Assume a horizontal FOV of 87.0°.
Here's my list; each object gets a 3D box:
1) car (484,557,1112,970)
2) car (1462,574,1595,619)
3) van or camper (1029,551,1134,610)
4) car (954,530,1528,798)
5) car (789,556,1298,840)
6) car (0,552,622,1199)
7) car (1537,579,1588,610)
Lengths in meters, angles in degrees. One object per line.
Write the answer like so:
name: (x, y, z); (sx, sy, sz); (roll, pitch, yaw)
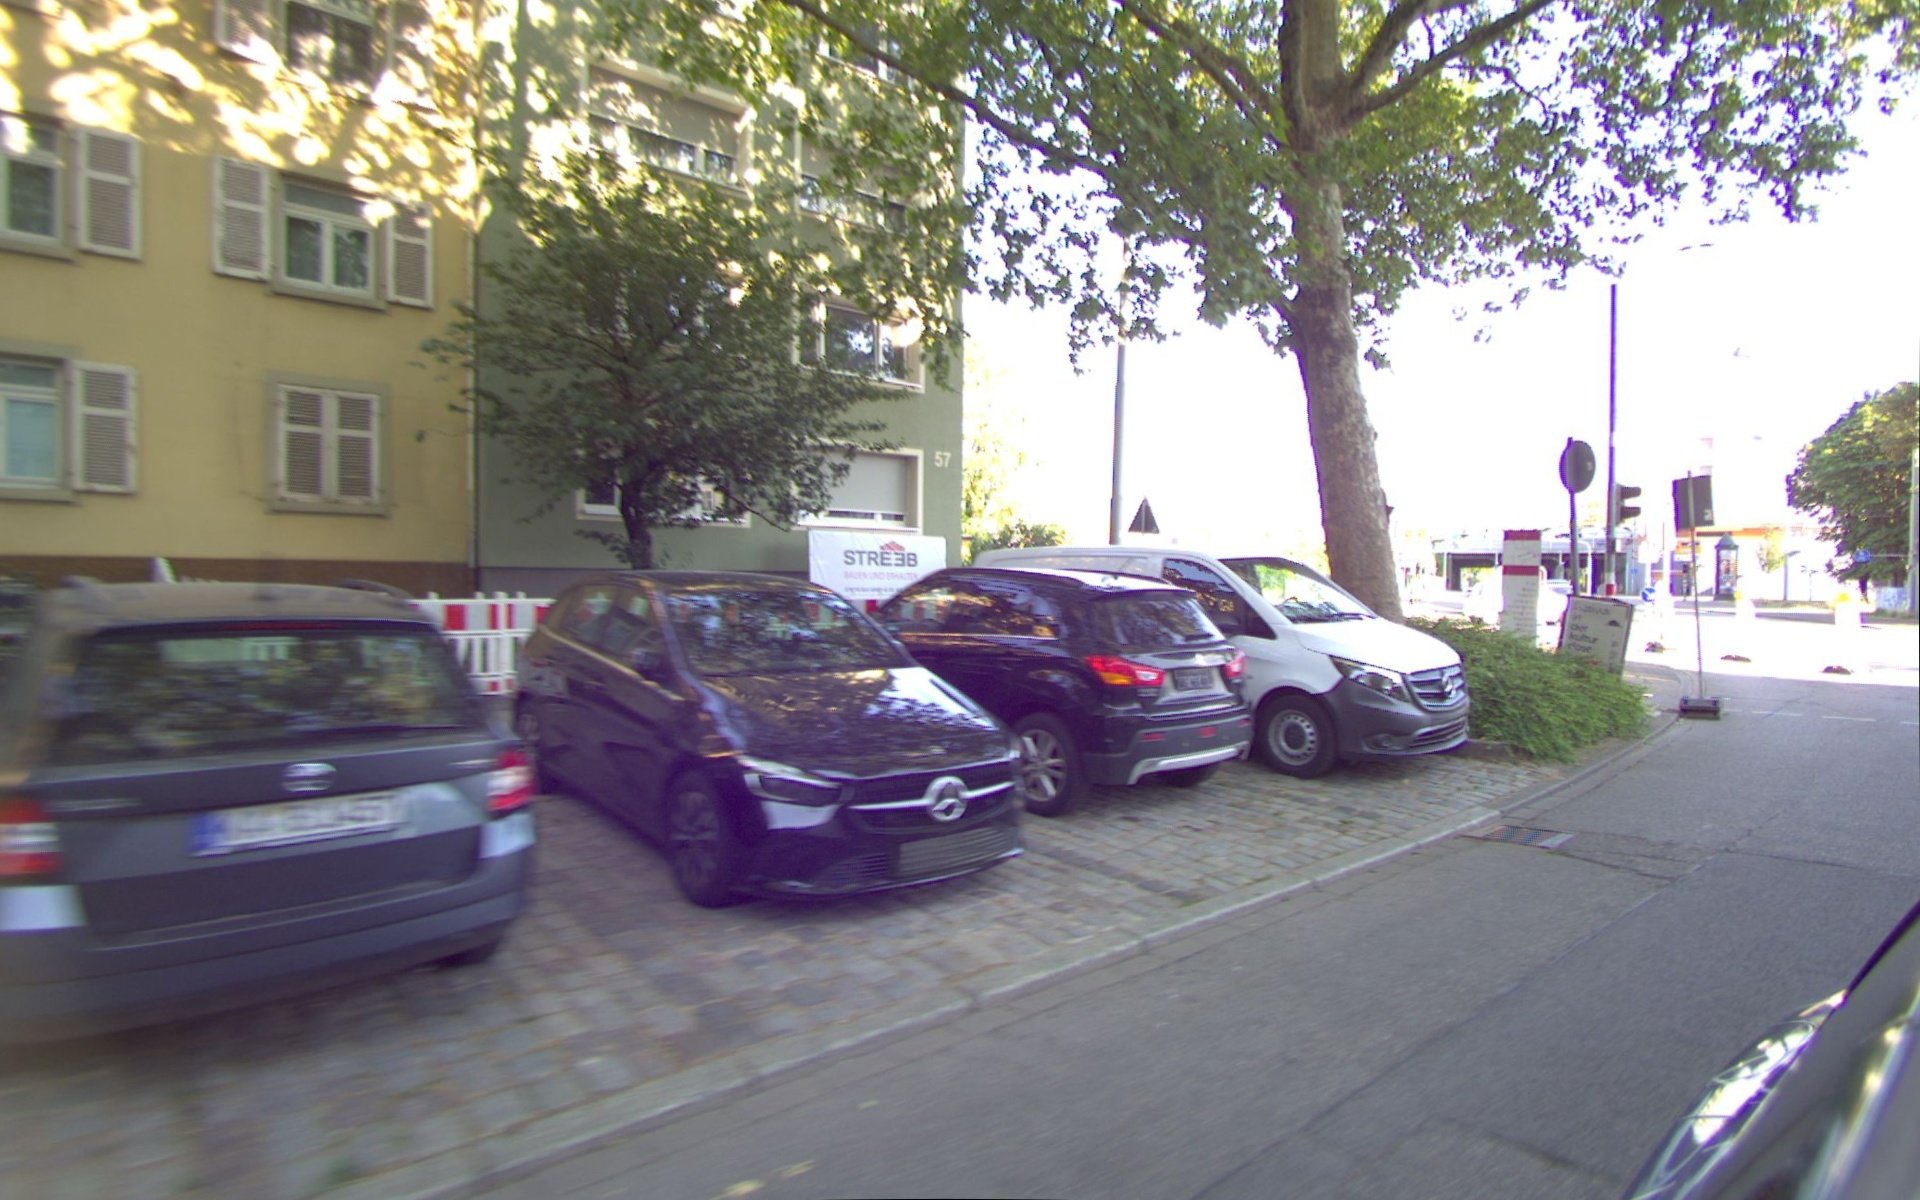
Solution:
car: (-1.345, 0.567, 6.204); (1.785, 1.542, 4.410); (0, 3, -40)
car: (19.098, -0.100, 34.144); (3.516, 1.455, 1.635); (-1, -2, 12)
van or camper: (5.684, -0.873, 47.441); (4.470, 2.607, 1.982); (-1, 0, 26)
car: (2.315, 0.304, 9.745); (1.881, 1.878, 5.124); (-1, 4, -41)
car: (0.434, 0.512, 8.019); (1.764, 1.625, 3.882); (0, 3, -41)
car: (-3.093, 0.599, 4.248); (1.712, 1.515, 3.886); (0, 3, -43)
car: (28.734, -0.287, 48.350); (1.623, 1.415, 3.313); (1, 2, 23)
